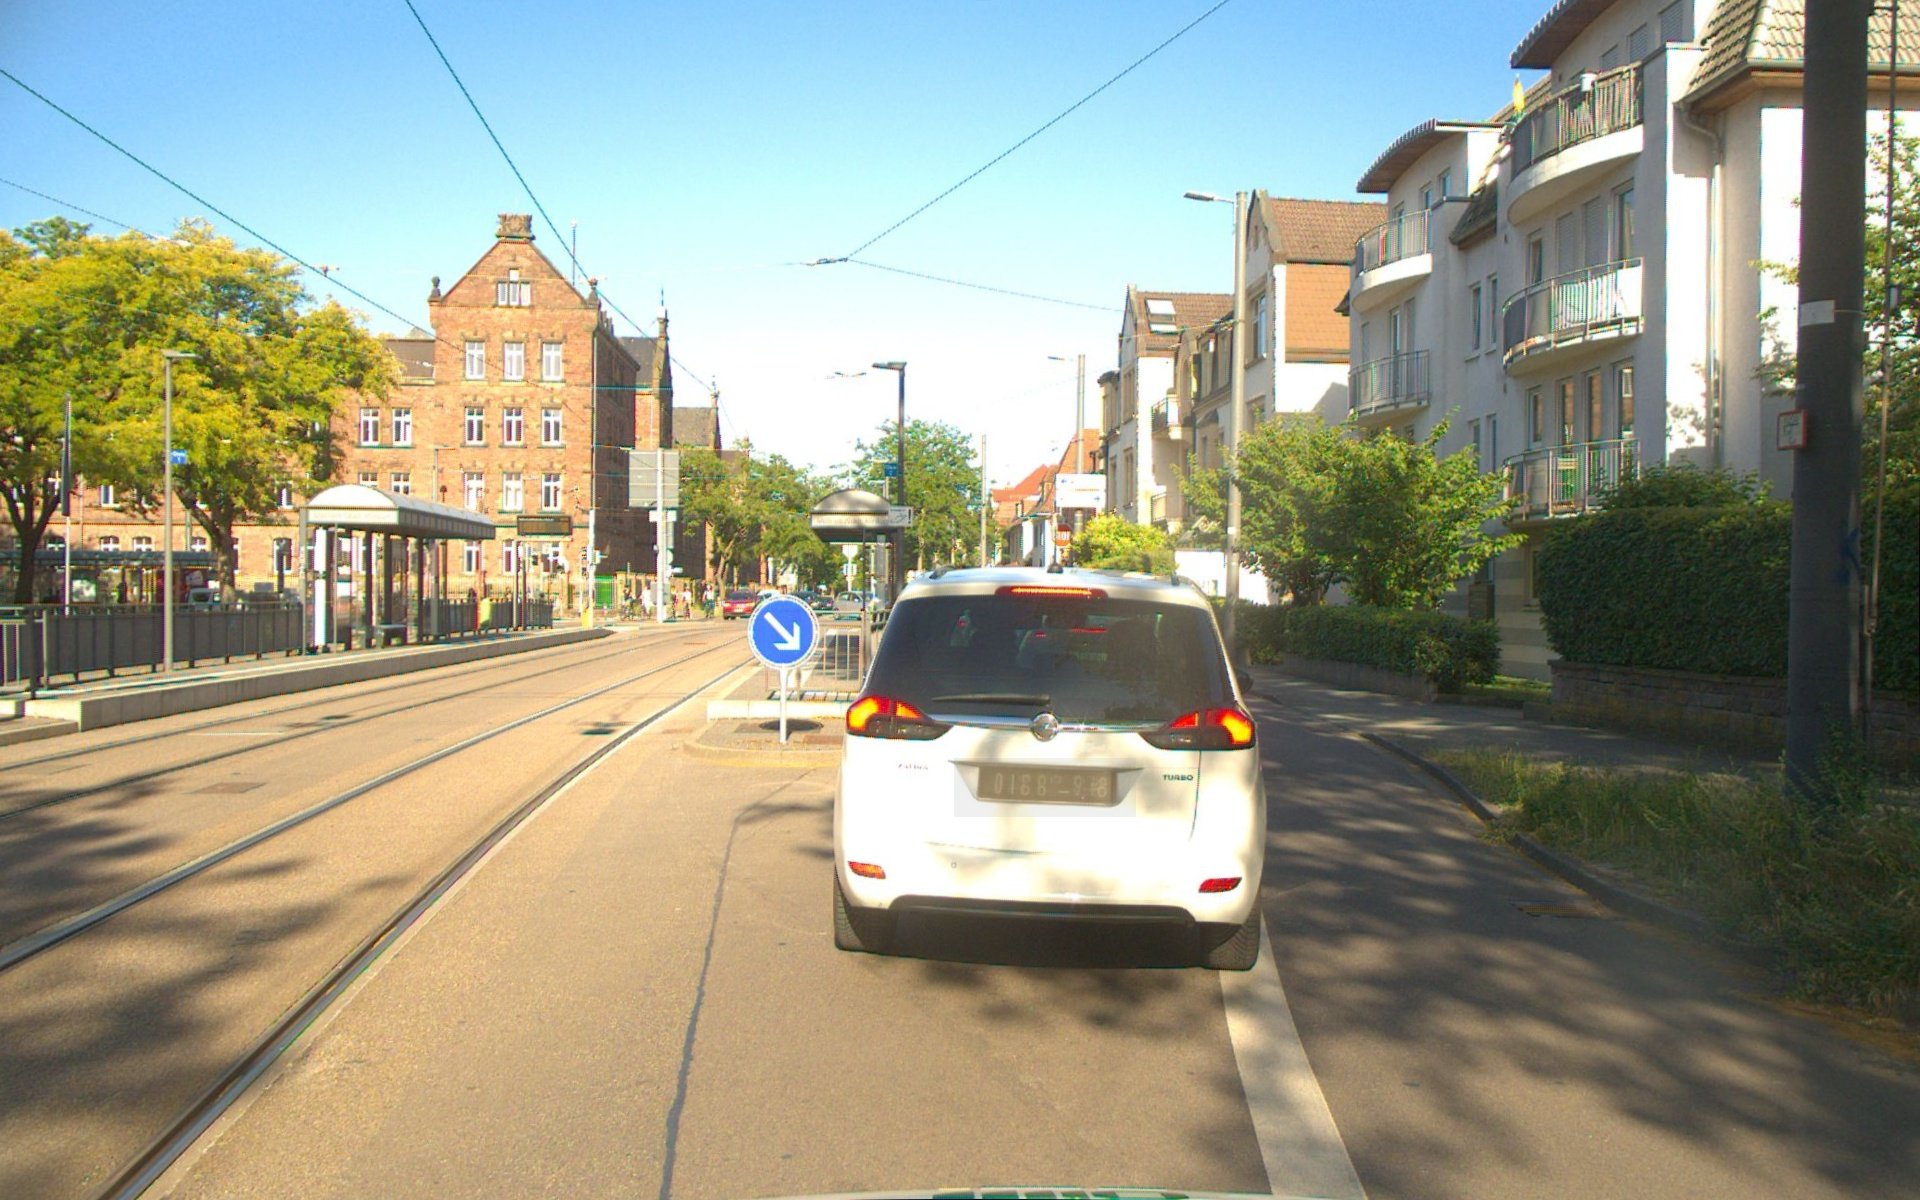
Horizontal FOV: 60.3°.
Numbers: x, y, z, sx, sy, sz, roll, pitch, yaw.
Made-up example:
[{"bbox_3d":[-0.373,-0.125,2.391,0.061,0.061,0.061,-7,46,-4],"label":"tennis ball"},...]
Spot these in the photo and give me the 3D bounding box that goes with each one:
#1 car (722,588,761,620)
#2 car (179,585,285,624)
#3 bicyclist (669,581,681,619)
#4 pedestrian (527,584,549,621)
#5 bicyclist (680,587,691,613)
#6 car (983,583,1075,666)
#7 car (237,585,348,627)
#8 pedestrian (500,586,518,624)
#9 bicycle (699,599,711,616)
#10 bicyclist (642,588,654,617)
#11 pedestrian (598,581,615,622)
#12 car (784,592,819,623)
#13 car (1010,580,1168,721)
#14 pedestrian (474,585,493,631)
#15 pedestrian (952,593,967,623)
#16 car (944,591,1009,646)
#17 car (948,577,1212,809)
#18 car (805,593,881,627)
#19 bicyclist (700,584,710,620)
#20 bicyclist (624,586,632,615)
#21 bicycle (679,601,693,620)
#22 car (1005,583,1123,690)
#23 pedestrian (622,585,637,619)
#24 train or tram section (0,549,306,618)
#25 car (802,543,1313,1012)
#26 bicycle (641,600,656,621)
[{"bbox_3d":[-12.355,0.213,93.856,1.711,1.746,3.999,1,0,-1],"label":"car"},{"bbox_3d":[-32.452,0.214,73.810,3.908,1.658,1.817,1,0,-4],"label":"car"},{"bbox_3d":[-15.468,0.023,89.760,0.488,2.049,0.572,1,-1,-1],"label":"bicyclist"},{"bbox_3d":[-21.785,0.128,85.352,0.791,1.934,0.744,1,-1,13],"label":"pedestrian"},{"bbox_3d":[-15.867,0.000,95.595,0.520,1.503,0.572,1,-1,-1],"label":"bicyclist"},{"bbox_3d":[1.443,0.502,36.113,1.868,1.690,4.000,0,0,0],"label":"car"},{"bbox_3d":[-28.121,0.262,69.737,3.908,1.658,1.817,1,0,-4],"label":"car"},{"bbox_3d":[-21.714,0.252,79.593,0.754,1.805,0.717,1,-1,-18],"label":"pedestrian"},{"bbox_3d":[-14.744,0.426,95.561,0.477,0.988,1.405,1,0,-1],"label":"bicycle"},{"bbox_3d":[-16.518,0.144,87.637,0.520,1.503,0.572,1,-1,-1],"label":"bicyclist"},{"bbox_3d":[-18.089,0.082,84.684,0.782,2.049,0.717,1,-1,-18],"label":"pedestrian"},{"bbox_3d":[-9.423,0.451,98.040,1.715,1.746,3.989,1,0,-11],"label":"car"},{"bbox_3d":[1.747,0.584,21.619,1.866,1.653,4.003,0,0,6],"label":"car"},{"bbox_3d":[-21.471,0.368,74.534,0.781,2.049,1.042,1,-1,-15],"label":"pedestrian"},{"bbox_3d":[-0.034,0.549,107.469,0.790,1.934,0.744,1,-1,9],"label":"pedestrian"},{"bbox_3d":[0.499,0.552,53.075,1.869,1.690,3.998,0,0,-2],"label":"car"},{"bbox_3d":[1.067,0.647,13.768,1.866,1.625,4.003,0,0,6],"label":"car"},{"bbox_3d":[-6.313,0.553,88.949,3.922,1.746,1.744,1,0,38],"label":"car"},{"bbox_3d":[-14.750,0.117,95.564,0.478,2.049,0.502,1,-1,-1],"label":"bicyclist"},{"bbox_3d":[-16.492,0.030,82.179,0.307,1.469,0.384,1,-1,-1],"label":"bicyclist"},{"bbox_3d":[-15.865,0.603,95.712,0.498,1.096,1.738,1,0,-1],"label":"bicycle"},{"bbox_3d":[1.787,0.576,28.280,1.867,1.690,4.002,0,0,4],"label":"car"},{"bbox_3d":[-19.592,0.118,98.083,0.675,2.049,0.618,1,-1,5],"label":"pedestrian"},{"bbox_3d":[-40.755,-0.769,79.411,17.048,3.210,3.343,0,0,-6],"label":"train or tram section"},{"bbox_3d":[0.566,0.631,8.071,1.866,1.690,4.003,0,0,6],"label":"car"},{"bbox_3d":[-16.511,0.558,87.715,0.498,1.096,1.738,1,0,-1],"label":"bicycle"}]
